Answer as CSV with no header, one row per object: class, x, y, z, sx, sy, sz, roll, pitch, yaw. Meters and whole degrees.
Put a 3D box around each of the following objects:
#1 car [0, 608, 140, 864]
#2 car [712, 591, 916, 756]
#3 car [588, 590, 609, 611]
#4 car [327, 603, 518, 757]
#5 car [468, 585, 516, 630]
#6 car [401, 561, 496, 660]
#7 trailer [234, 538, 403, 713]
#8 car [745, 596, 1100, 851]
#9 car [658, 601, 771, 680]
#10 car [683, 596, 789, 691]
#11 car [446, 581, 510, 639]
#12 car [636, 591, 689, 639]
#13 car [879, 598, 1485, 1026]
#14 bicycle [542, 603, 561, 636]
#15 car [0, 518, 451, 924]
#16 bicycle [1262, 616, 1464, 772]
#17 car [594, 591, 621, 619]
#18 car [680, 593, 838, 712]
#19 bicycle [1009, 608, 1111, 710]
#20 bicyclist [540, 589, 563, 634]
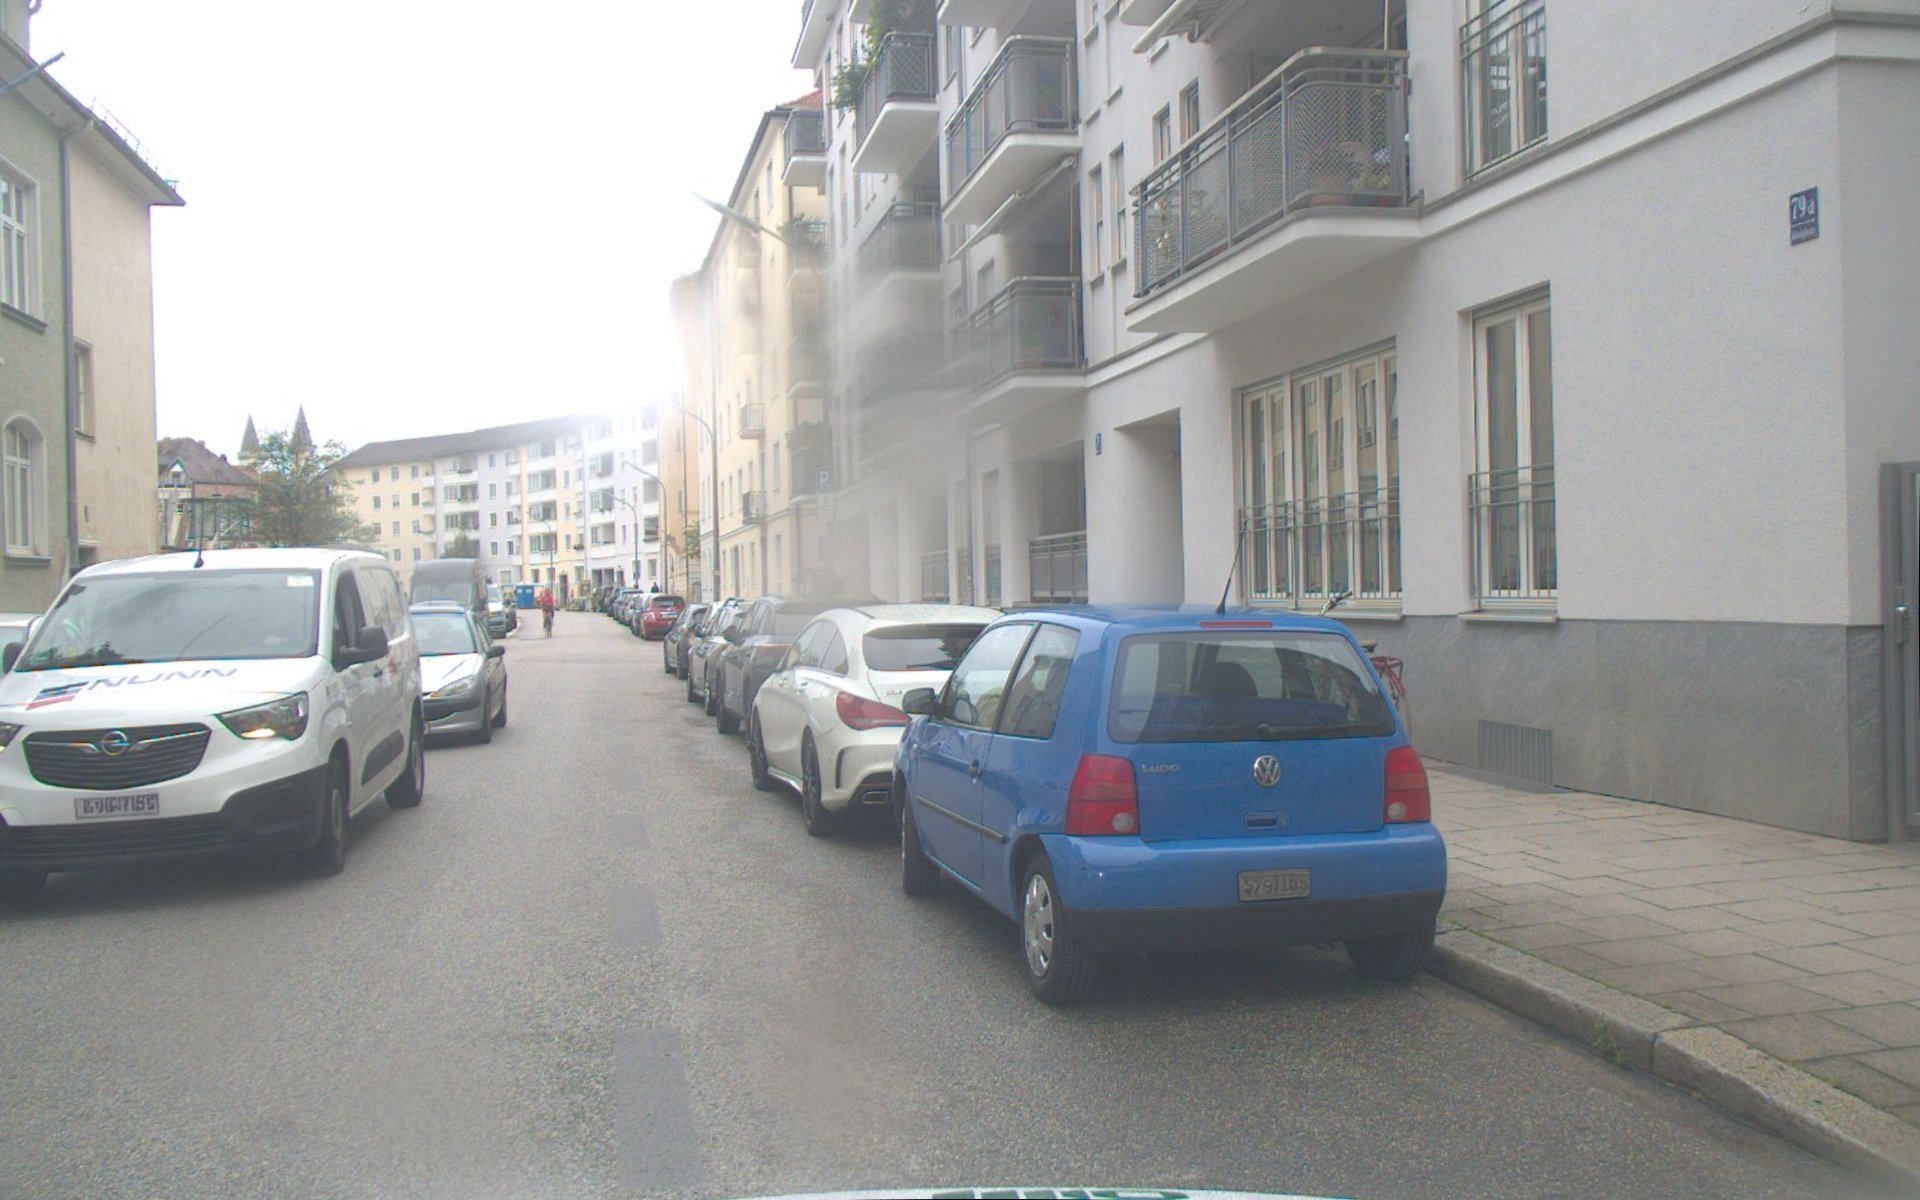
car,-6.784,0.853,11.216,1.449,1.492,3.301,-3,1,-14
car,-1.677,0.706,17.812,1.576,1.557,3.969,1,0,-14
car,-24.189,0.039,110.536,1.251,1.321,2.787,-1,0,-14
car,-5.747,0.789,18.033,1.553,1.436,3.602,-2,0,-12
car,-19.367,0.272,68.574,1.673,1.720,4.013,-3,1,-14
car,-14.993,0.243,48.713,2.051,2.682,5.362,-2,1,-11
trailer,-10.321,0.357,26.927,1.679,2.504,4.374,-3,1,-11
car,-0.460,0.716,11.728,1.630,1.465,4.191,1,0,-14
car,-4.933,0.772,32.891,1.734,1.432,4.061,-1,0,-15
car,-3.965,0.702,28.912,1.493,1.557,3.514,0,0,-14
car,-17.824,0.337,61.299,1.850,1.965,4.587,-3,1,-12
car,-10.133,0.471,56.190,1.568,1.535,3.788,-2,1,-13
car,0.724,0.730,7.478,1.590,1.437,3.542,1,0,-13
bicycle,-14.658,0.684,59.329,0.495,1.148,1.769,-3,1,-10
car,-4.367,0.575,10.102,1.739,1.835,4.561,-3,0,-10
bicycle,2.946,0.669,12.297,0.666,1.046,1.828,-2,-1,-14
car,-21.315,0.281,99.813,1.449,1.669,3.986,0,1,-14
car,-3.020,0.694,24.073,1.705,1.557,4.604,1,0,-14
bicycle,1.222,0.708,20.755,0.617,1.180,2.119,-2,1,-15
bicyclist,-14.654,0.401,59.332,0.681,1.589,0.964,-3,1,-10
